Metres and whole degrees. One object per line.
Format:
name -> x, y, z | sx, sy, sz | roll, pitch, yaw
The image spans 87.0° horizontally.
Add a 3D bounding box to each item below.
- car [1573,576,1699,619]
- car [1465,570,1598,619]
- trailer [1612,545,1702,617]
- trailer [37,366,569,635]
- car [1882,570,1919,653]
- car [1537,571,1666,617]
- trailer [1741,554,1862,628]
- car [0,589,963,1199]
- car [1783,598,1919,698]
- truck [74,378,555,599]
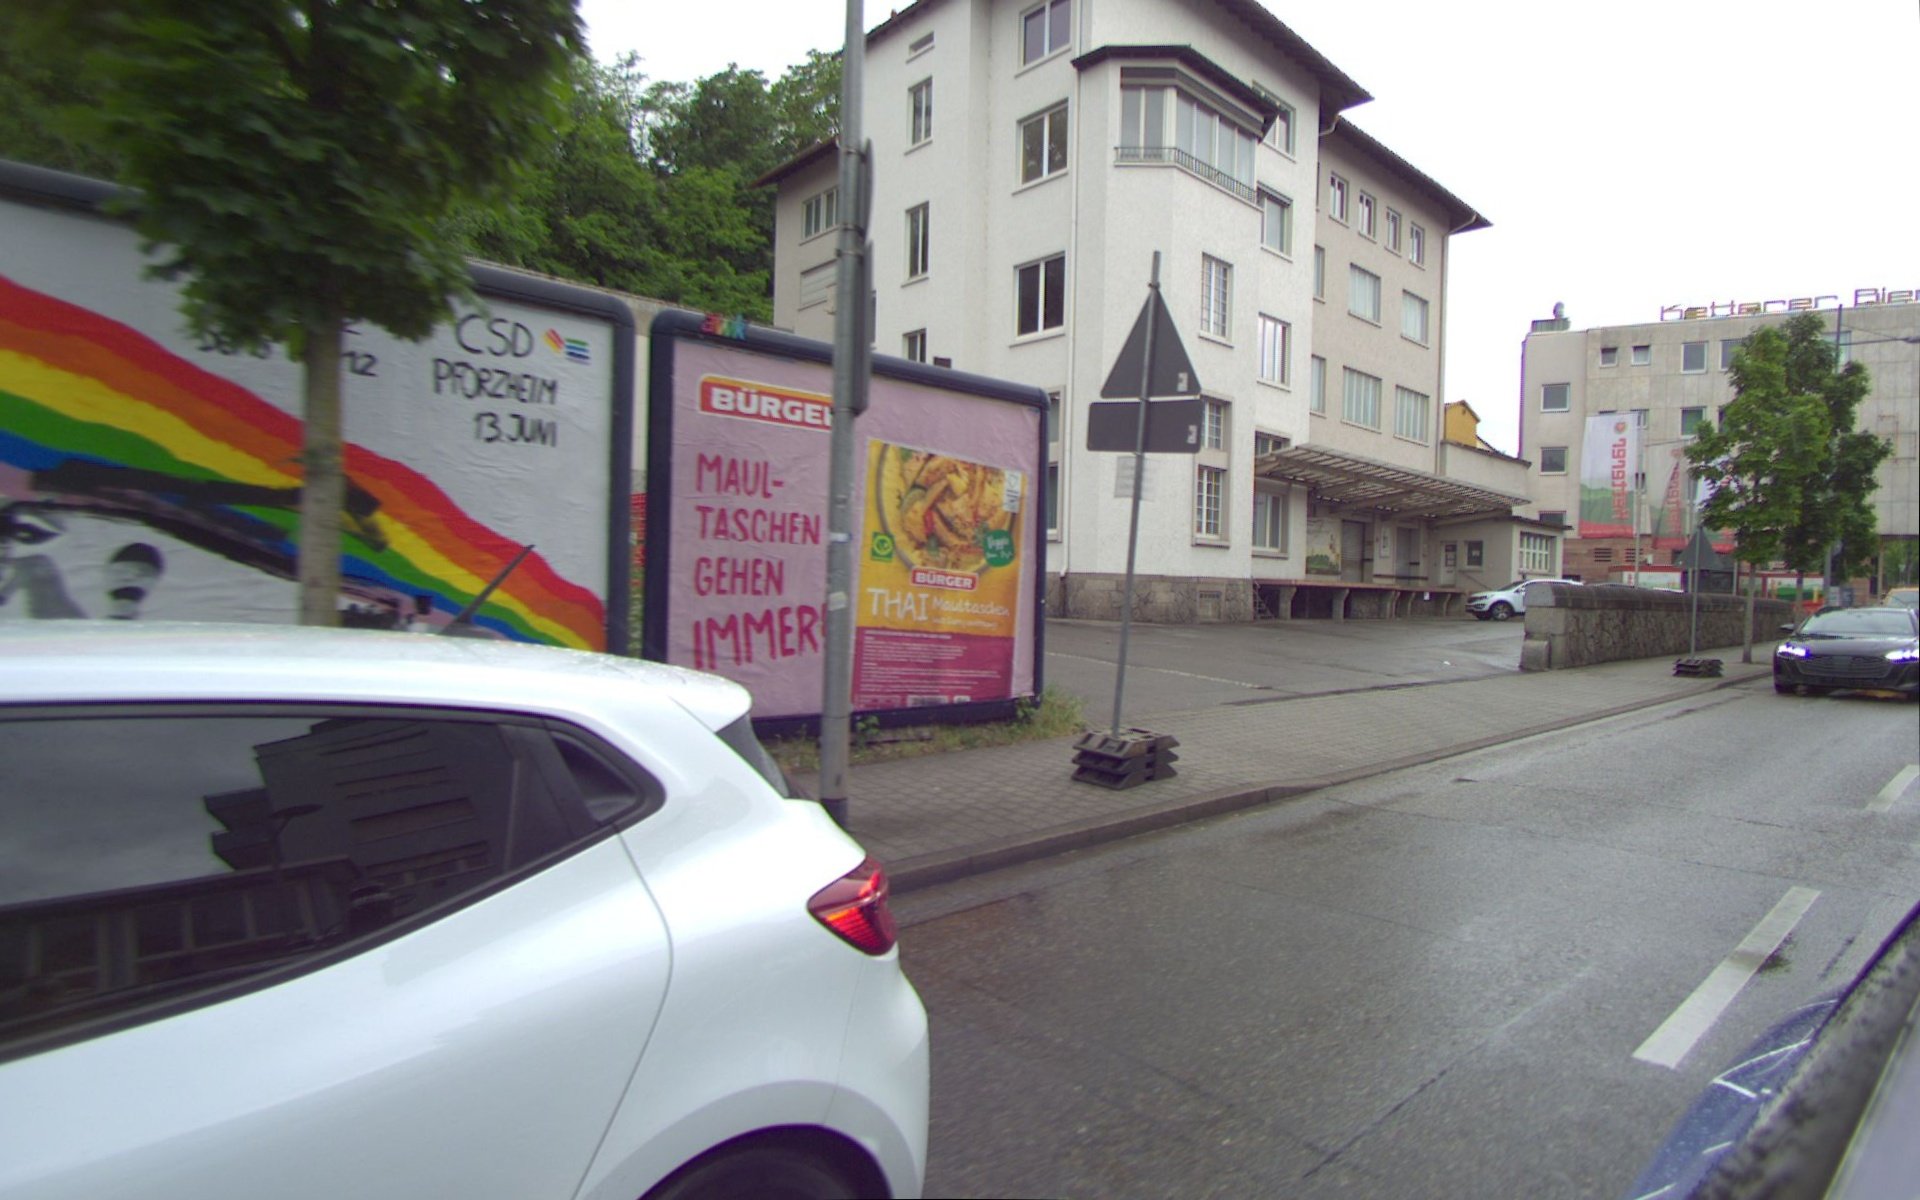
car -> 30.131, -0.122, 45.222 | 4.215, 1.669, 1.859 | 3, 1, 15
car -> 21.676, -0.192, 38.549 | 3.917, 1.588, 1.921 | 3, -2, 10
trailer -> 34.460, -0.953, 50.272 | 2.723, 3.348, 6.018 | 2, 1, 26
trailer -> -8.054, -1.062, 12.880 | 5.294, 2.749, 2.133 | 1, 3, -39
car -> 26.604, 0.296, 27.321 | 5.447, 2.115, 2.104 | 0, 1, -43
car -> 25.737, -0.241, 40.719 | 3.940, 1.602, 1.765 | 3, 1, 13
trailer -> 39.455, -0.499, 47.661 | 2.606, 3.215, 5.676 | 2, 2, 22
car -> -1.986, 0.716, 1.109 | 3.799, 1.413, 1.668 | 1, 2, -42
car -> 15.171, 0.692, 16.705 | 4.554, 1.420, 1.792 | 0, 1, -42
truck -> -11.166, -1.727, 18.070 | 6.801, 3.255, 2.640 | 0, 3, -37
